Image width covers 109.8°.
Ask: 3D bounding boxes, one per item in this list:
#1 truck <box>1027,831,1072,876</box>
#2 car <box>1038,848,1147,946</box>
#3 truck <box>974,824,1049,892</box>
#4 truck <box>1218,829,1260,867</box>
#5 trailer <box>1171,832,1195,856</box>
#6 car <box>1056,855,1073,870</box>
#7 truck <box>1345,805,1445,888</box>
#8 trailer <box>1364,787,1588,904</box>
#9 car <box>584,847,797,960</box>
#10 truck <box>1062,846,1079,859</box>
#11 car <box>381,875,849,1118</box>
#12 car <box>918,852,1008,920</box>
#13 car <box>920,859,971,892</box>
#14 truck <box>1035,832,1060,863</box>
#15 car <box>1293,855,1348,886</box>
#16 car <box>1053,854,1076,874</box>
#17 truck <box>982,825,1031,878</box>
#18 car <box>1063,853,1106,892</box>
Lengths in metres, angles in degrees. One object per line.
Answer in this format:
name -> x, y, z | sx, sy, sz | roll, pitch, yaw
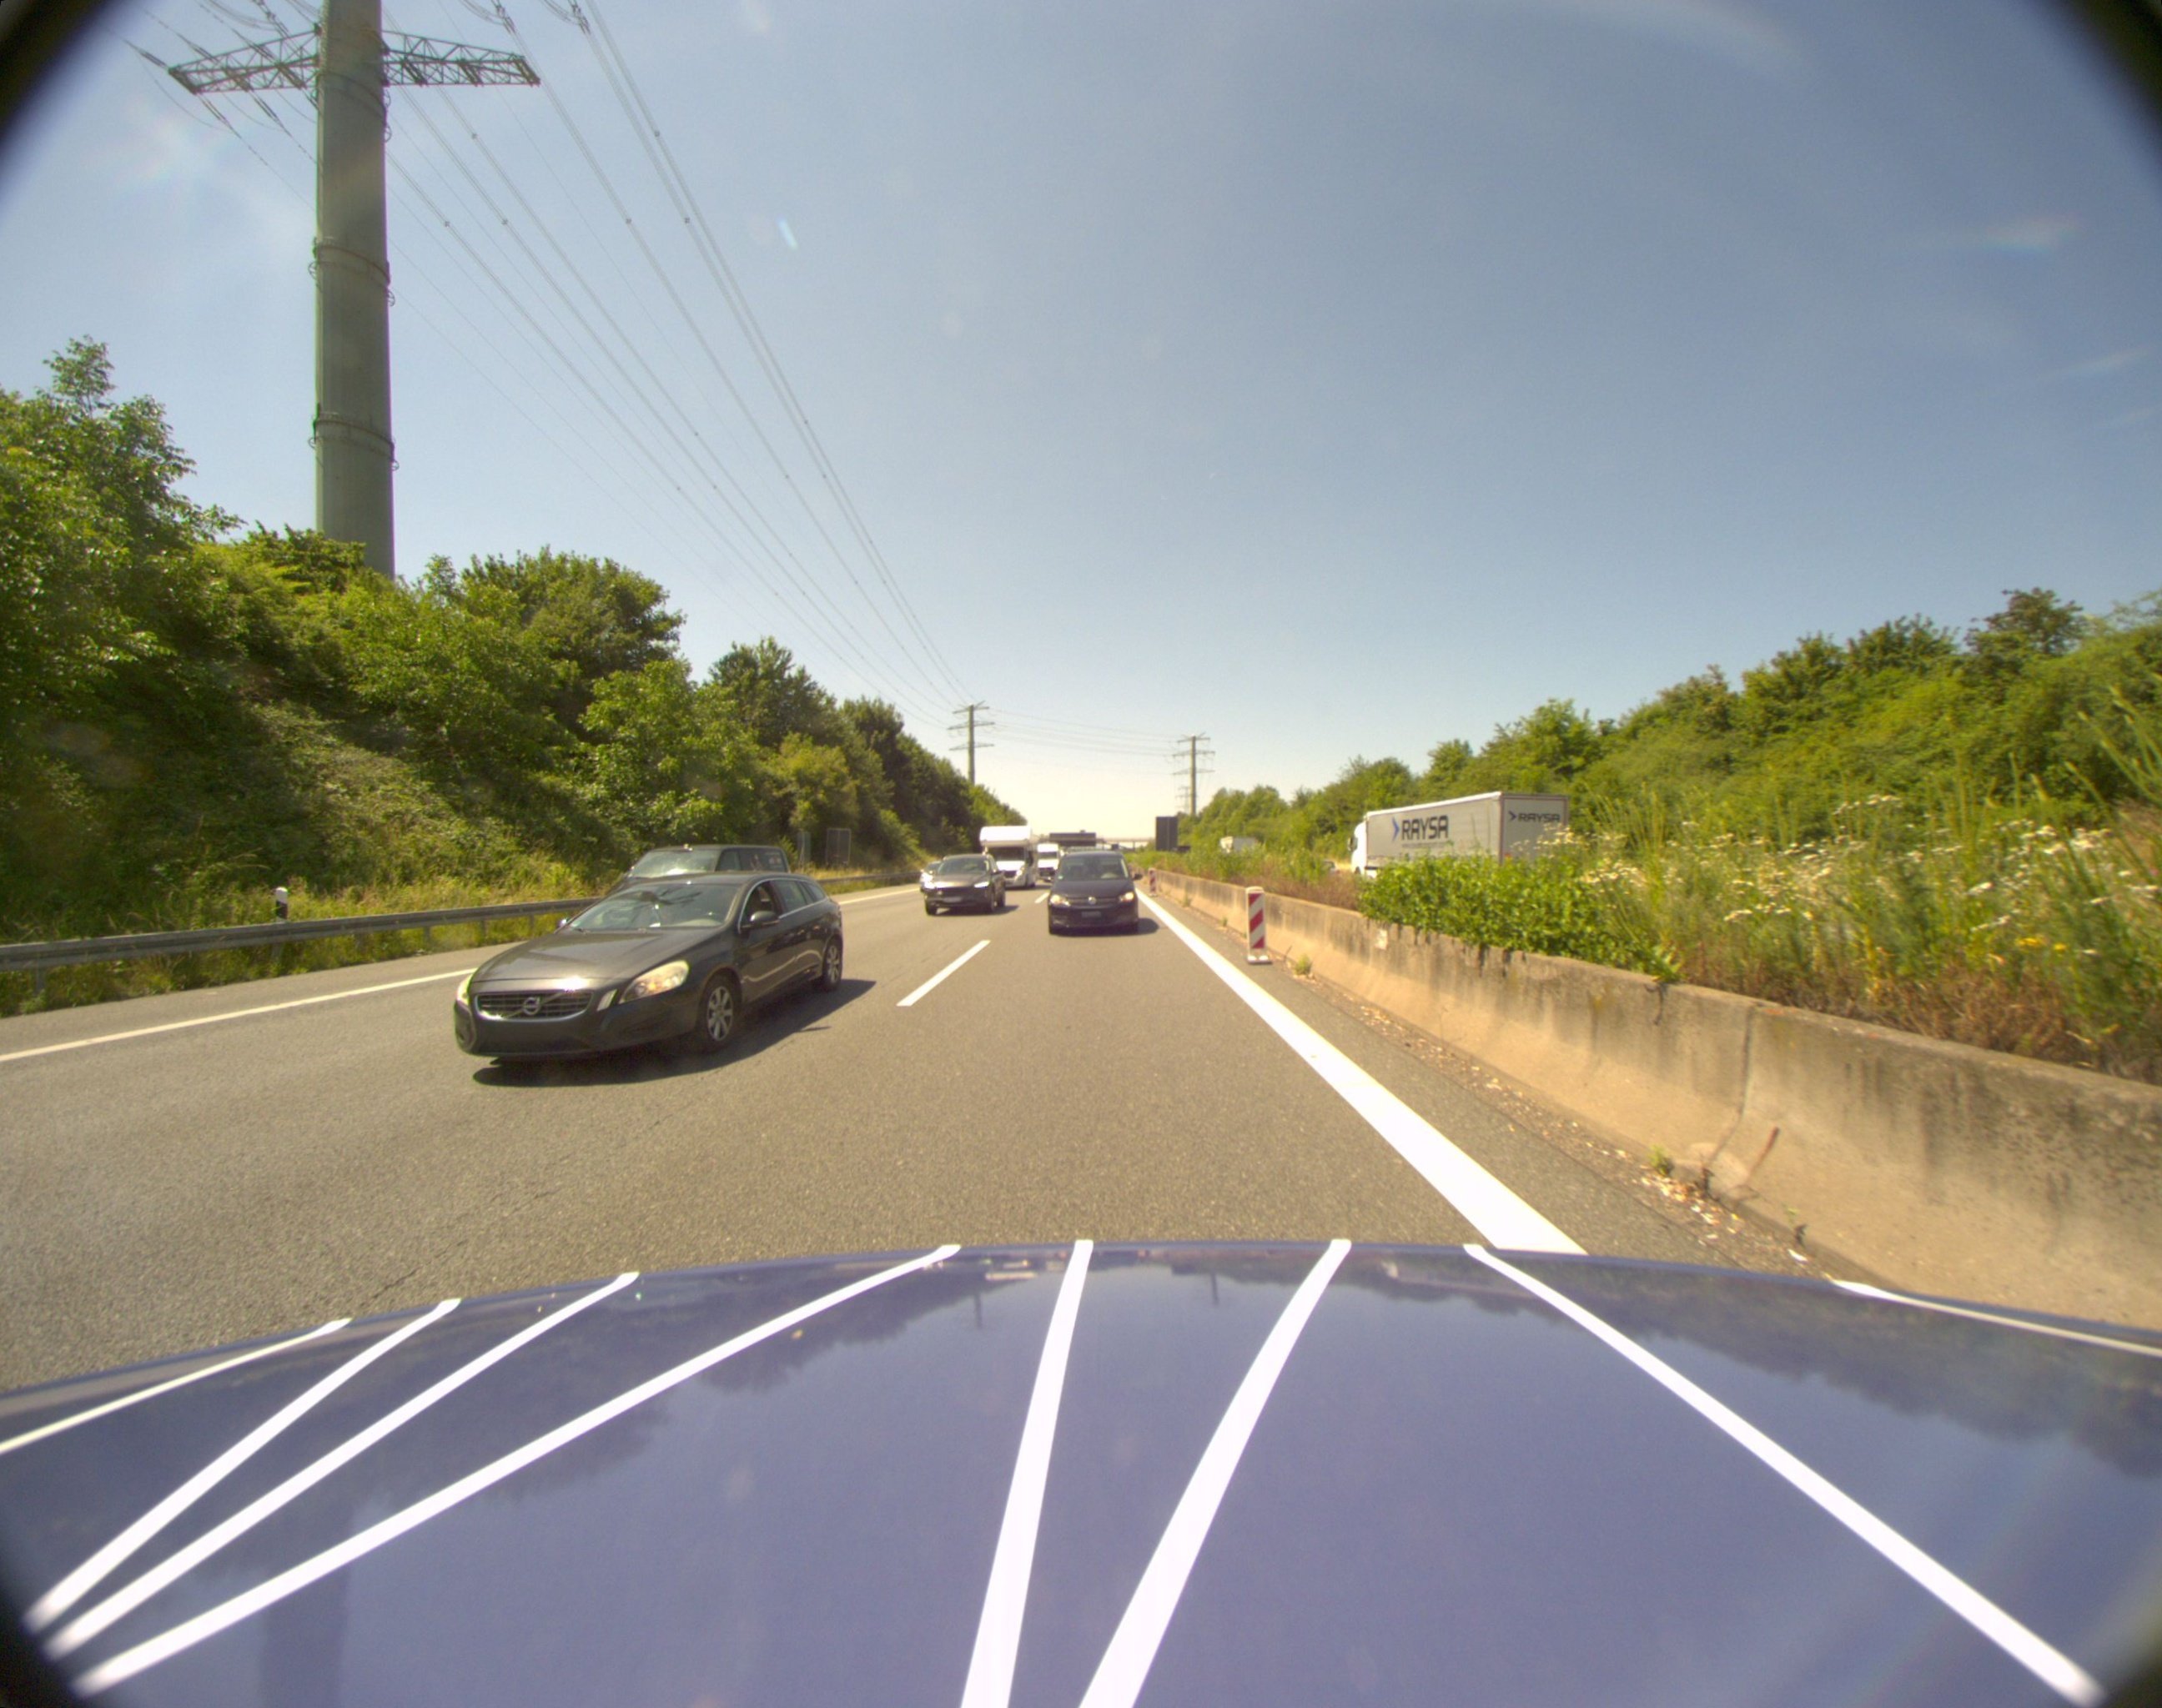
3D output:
truck -> -2.242, -0.068, 57.609 | 2.514, 2.997, 9.898 | -2, 0, 2
car -> 0.201, 0.756, 15.789 | 1.892, 1.693, 4.383 | -2, 0, 0
truck -> -3.368, 0.128, 39.572 | 2.514, 2.997, 9.898 | -2, 0, 2
truck -> 17.461, -0.663, 84.554 | 2.769, 3.866, 9.029 | 2, 1, 1
trailer -> 18.960, -1.788, 142.489 | 2.759, 4.143, 14.196 | 2, 0, 1
car -> -2.034, 1.023, 93.638 | 1.892, 1.693, 4.383 | -2, 0, 0
truck -> 17.098, -0.426, 41.847 | 3.024, 4.143, 5.805 | 2, 1, 1
trailer -> 16.922, -0.356, 34.536 | 3.024, 4.143, 14.020 | 2, 0, 2
car -> -7.634, 0.847, 15.495 | 1.788, 1.893, 4.698 | -2, 0, 1
truck -> -1.746, -0.285, 128.918 | 2.408, 2.203, 6.744 | -2, 0, 2
car -> -3.774, 1.018, 7.229 | 1.800, 1.429, 4.230 | -2, 0, 0
car -> -3.307, 0.840, 22.151 | 1.892, 1.693, 4.383 | -2, 0, 0
car -> -6.524, 1.015, 36.974 | 1.800, 1.429, 3.731 | -2, 0, 0
truck -> -4.775, -0.984, 109.422 | 2.655, 4.128, 11.661 | -2, 0, 1
car -> 12.395, 0.805, 39.563 | 1.707, 1.524, 4.000 | 0, 0, 1
car -> -1.484, 0.919, 69.698 | 1.892, 1.693, 4.383 | -2, 0, 0
truck -> -6.293, -0.238, 65.714 | 2.655, 4.128, 11.661 | -2, 0, 1
car -> 0.152, 0.823, 36.736 | 1.892, 1.693, 4.383 | -2, 0, 0
